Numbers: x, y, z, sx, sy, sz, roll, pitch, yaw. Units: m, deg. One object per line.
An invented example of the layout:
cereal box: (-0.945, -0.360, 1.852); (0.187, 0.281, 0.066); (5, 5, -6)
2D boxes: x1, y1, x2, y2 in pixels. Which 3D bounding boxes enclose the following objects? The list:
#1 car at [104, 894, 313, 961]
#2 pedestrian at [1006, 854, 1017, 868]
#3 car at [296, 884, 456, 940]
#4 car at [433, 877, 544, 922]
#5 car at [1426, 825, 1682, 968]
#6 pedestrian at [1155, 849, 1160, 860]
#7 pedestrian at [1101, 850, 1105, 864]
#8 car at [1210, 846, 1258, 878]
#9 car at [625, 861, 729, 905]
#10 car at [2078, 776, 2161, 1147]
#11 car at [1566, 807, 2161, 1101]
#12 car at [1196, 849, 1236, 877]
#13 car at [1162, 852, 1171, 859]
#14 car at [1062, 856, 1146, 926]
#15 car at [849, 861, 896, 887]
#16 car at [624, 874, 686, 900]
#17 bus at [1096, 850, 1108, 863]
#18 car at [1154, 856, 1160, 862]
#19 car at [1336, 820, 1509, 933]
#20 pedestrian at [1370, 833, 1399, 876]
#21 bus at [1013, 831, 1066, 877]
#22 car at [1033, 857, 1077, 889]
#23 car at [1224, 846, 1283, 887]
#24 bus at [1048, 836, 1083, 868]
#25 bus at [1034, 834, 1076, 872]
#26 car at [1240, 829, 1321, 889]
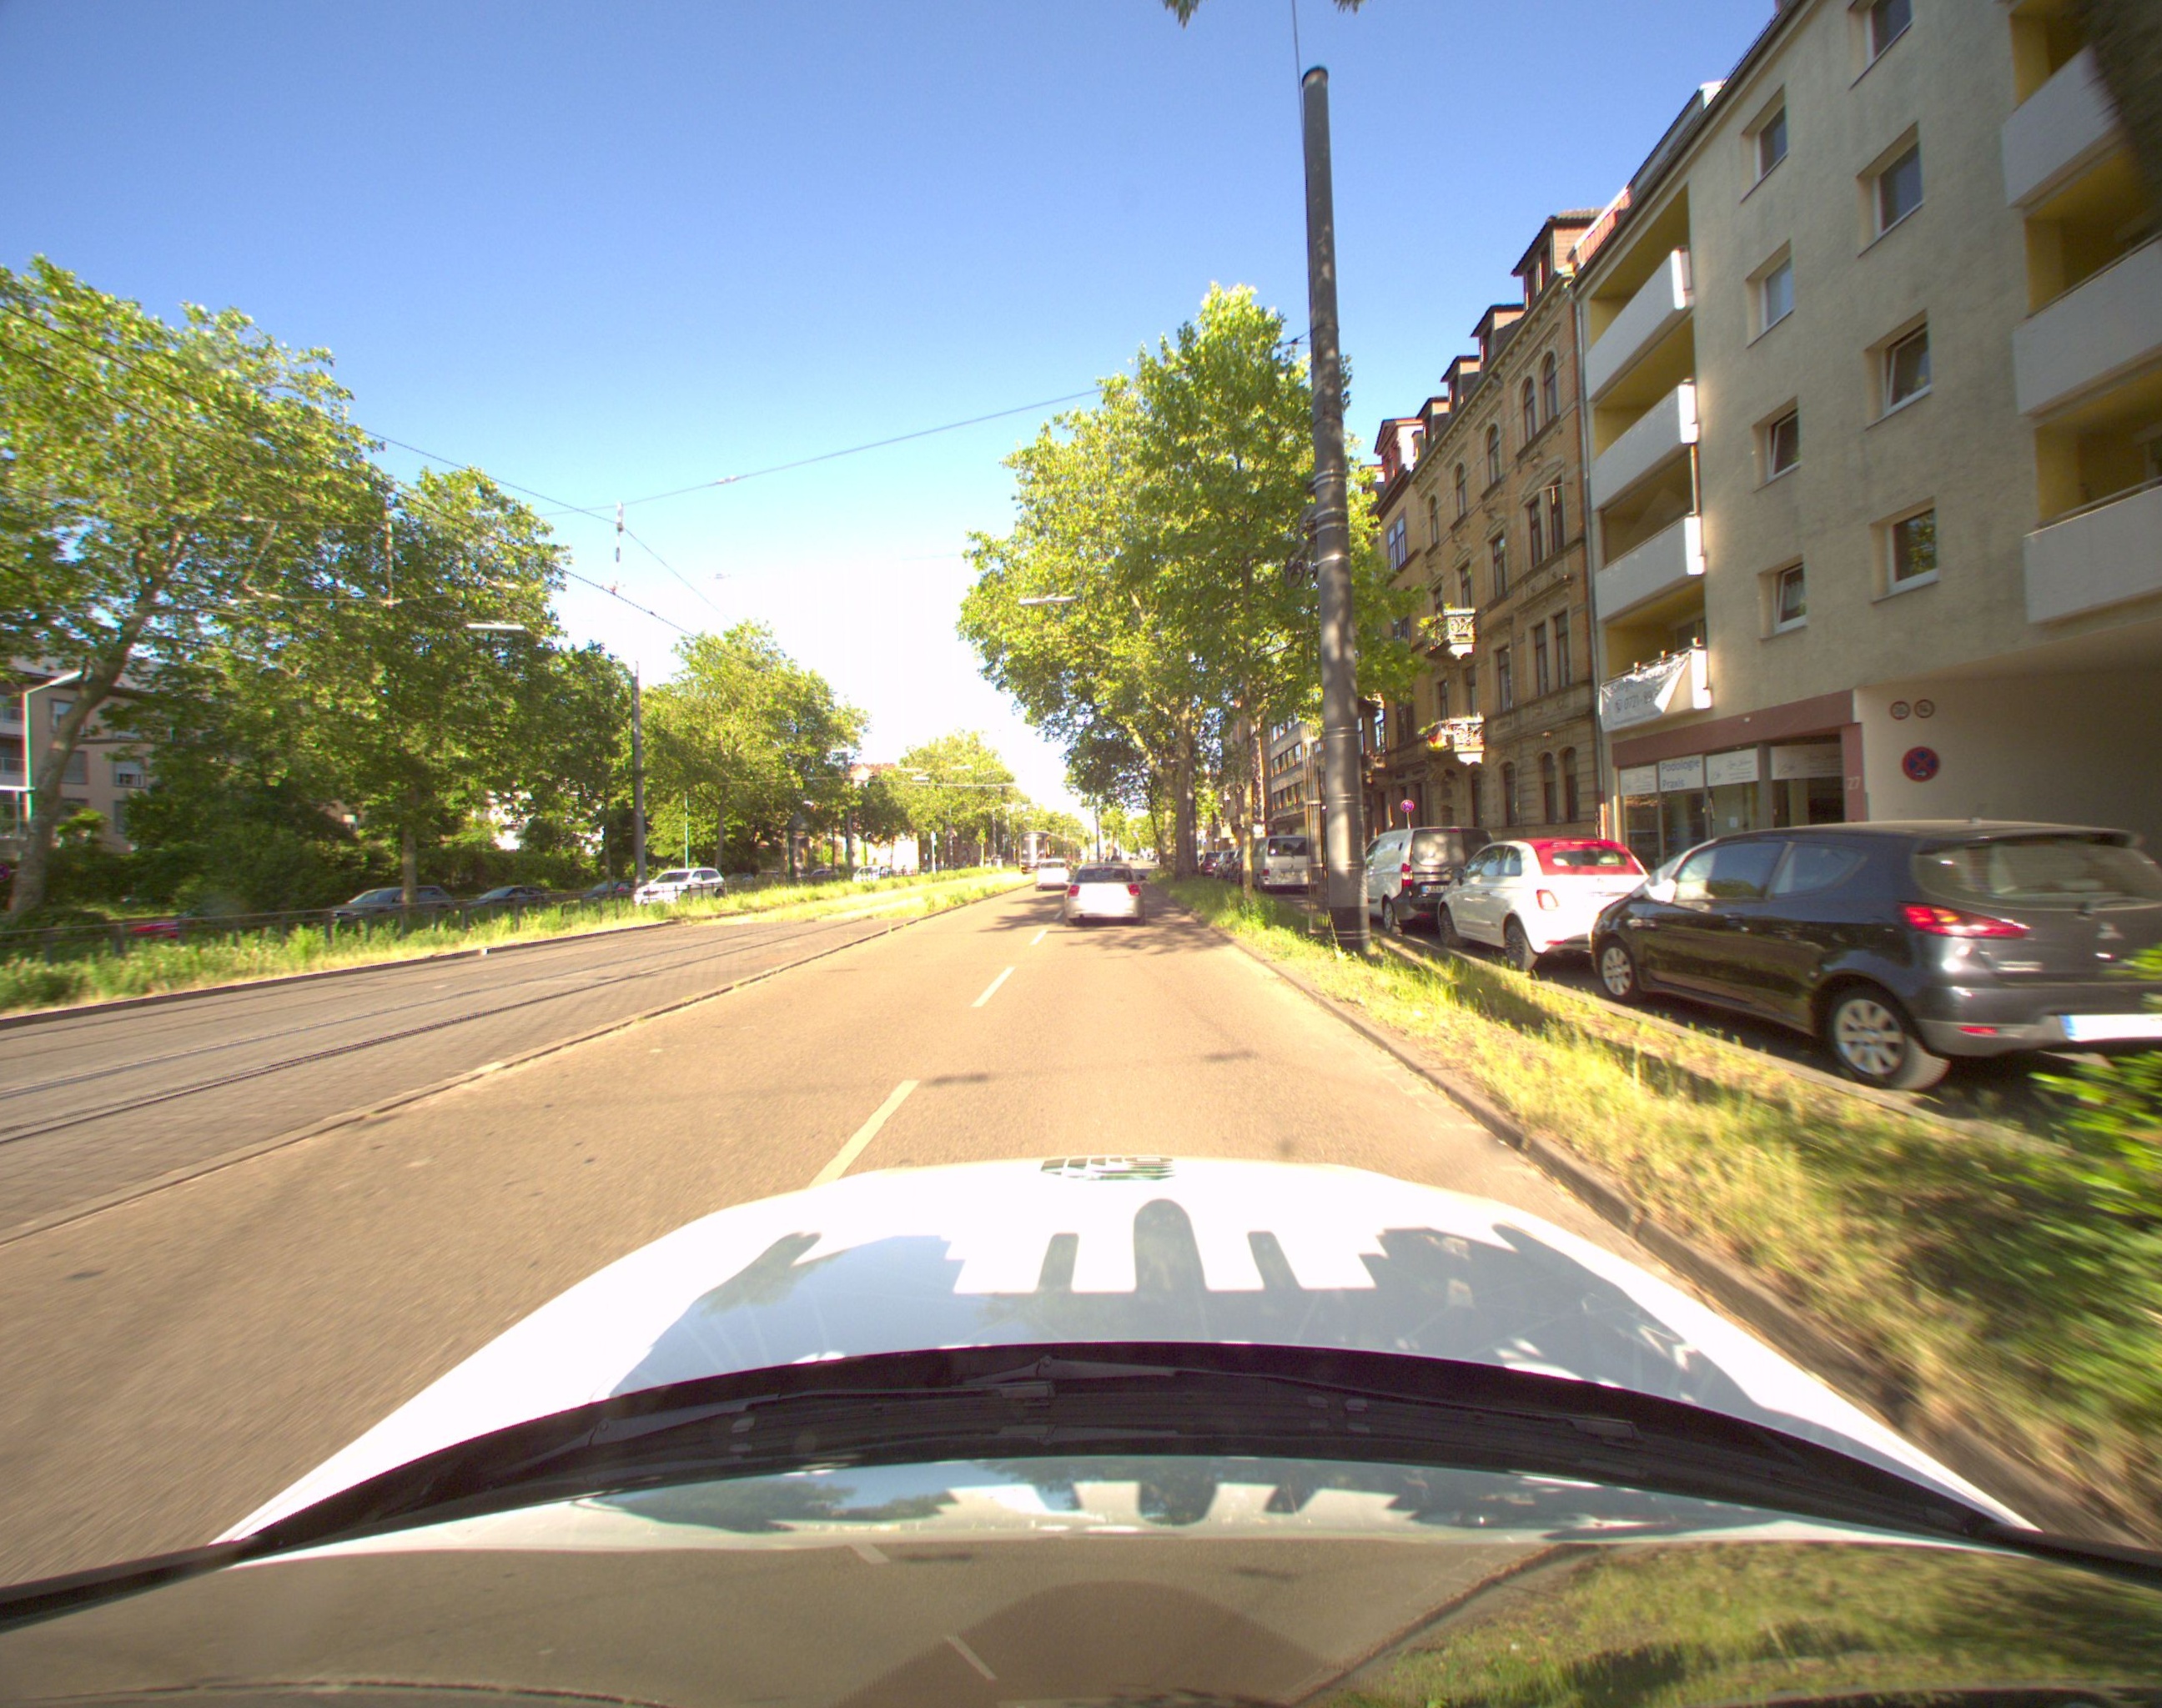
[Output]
car: (-26.367, 2.156, 24.841); (1.986, 1.622, 4.001); (0, 0, 1)
pedestrian: (-8.624, 0.898, 101.136); (1.174, 1.643, 0.891); (-2, -1, -4)
car: (-26.002, 2.080, 30.290); (1.987, 1.683, 4.515); (0, 0, 1)
car: (-25.893, 1.943, 35.767); (1.814, 1.683, 4.002); (0, 0, 2)
car: (5.651, 0.429, 10.220); (1.504, 1.480, 3.498); (0, 0, 6)
pedestrian: (13.456, 0.054, 143.714); (0.833, 2.013, 0.650); (0, 0, 10)
pedestrian: (2.961, 0.379, 108.185); (0.449, 1.902, 0.584); (-2, 0, -4)
car: (7.453, 0.396, 39.941); (1.670, 1.466, 4.673); (0, 0, 3)
car: (-16.750, 1.150, 34.024); (1.878, 1.619, 4.601); (0, 0, 2)
car: (5.070, 0.438, 1.658); (1.620, 1.477, 3.699); (0, 0, 1)
car: (5.340, 0.488, 6.011); (1.554, 1.485, 3.792); (0, 0, 5)
car: (7.513, 0.477, 45.592); (1.797, 1.490, 4.926); (0, 0, 5)
car: (19.151, 0.387, 182.444); (1.985, 1.509, 4.602); (0, -1, 4)
car: (0.588, 0.786, 19.251); (1.755, 1.432, 4.003); (0, 0, 3)
car: (-12.992, 1.220, 50.942); (1.838, 1.530, 3.876); (0, 0, 1)
car: (-24.593, 1.864, 47.140); (1.561, 1.312, 3.507); (0, 0, 3)
bus: (6.408, 0.660, 244.581); (2.738, 3.625, 18.867); (-2, 0, 4)
car: (21.421, 1.383, 229.321); (1.693, 1.534, 3.720); (0, 0, 4)
car: (5.707, 0.316, 14.144); (1.617, 1.668, 4.148); (0, 0, 6)
pedestrian: (13.289, 0.016, 35.674); (0.995, 1.840, 0.716); (-2, 0, 5)
bus: (-3.310, -0.006, 69.387); (2.856, 3.444, 13.230); (-2, 0, 4)
car: (-1.144, 0.840, 37.615); (1.639, 1.362, 3.764); (0, 0, 4)
car: (6.860, 0.467, 32.777); (1.697, 1.502, 4.362); (0, 0, 4)
bus: (-1.658, -0.231, 94.127); (2.856, 3.444, 11.623); (-2, 0, 4)
bus: (-2.464, -0.123, 82.134); (2.856, 3.444, 12.227); (-2, 0, 4)
car: (6.506, 0.124, 27.026); (1.856, 1.815, 4.805); (0, 0, 4)
